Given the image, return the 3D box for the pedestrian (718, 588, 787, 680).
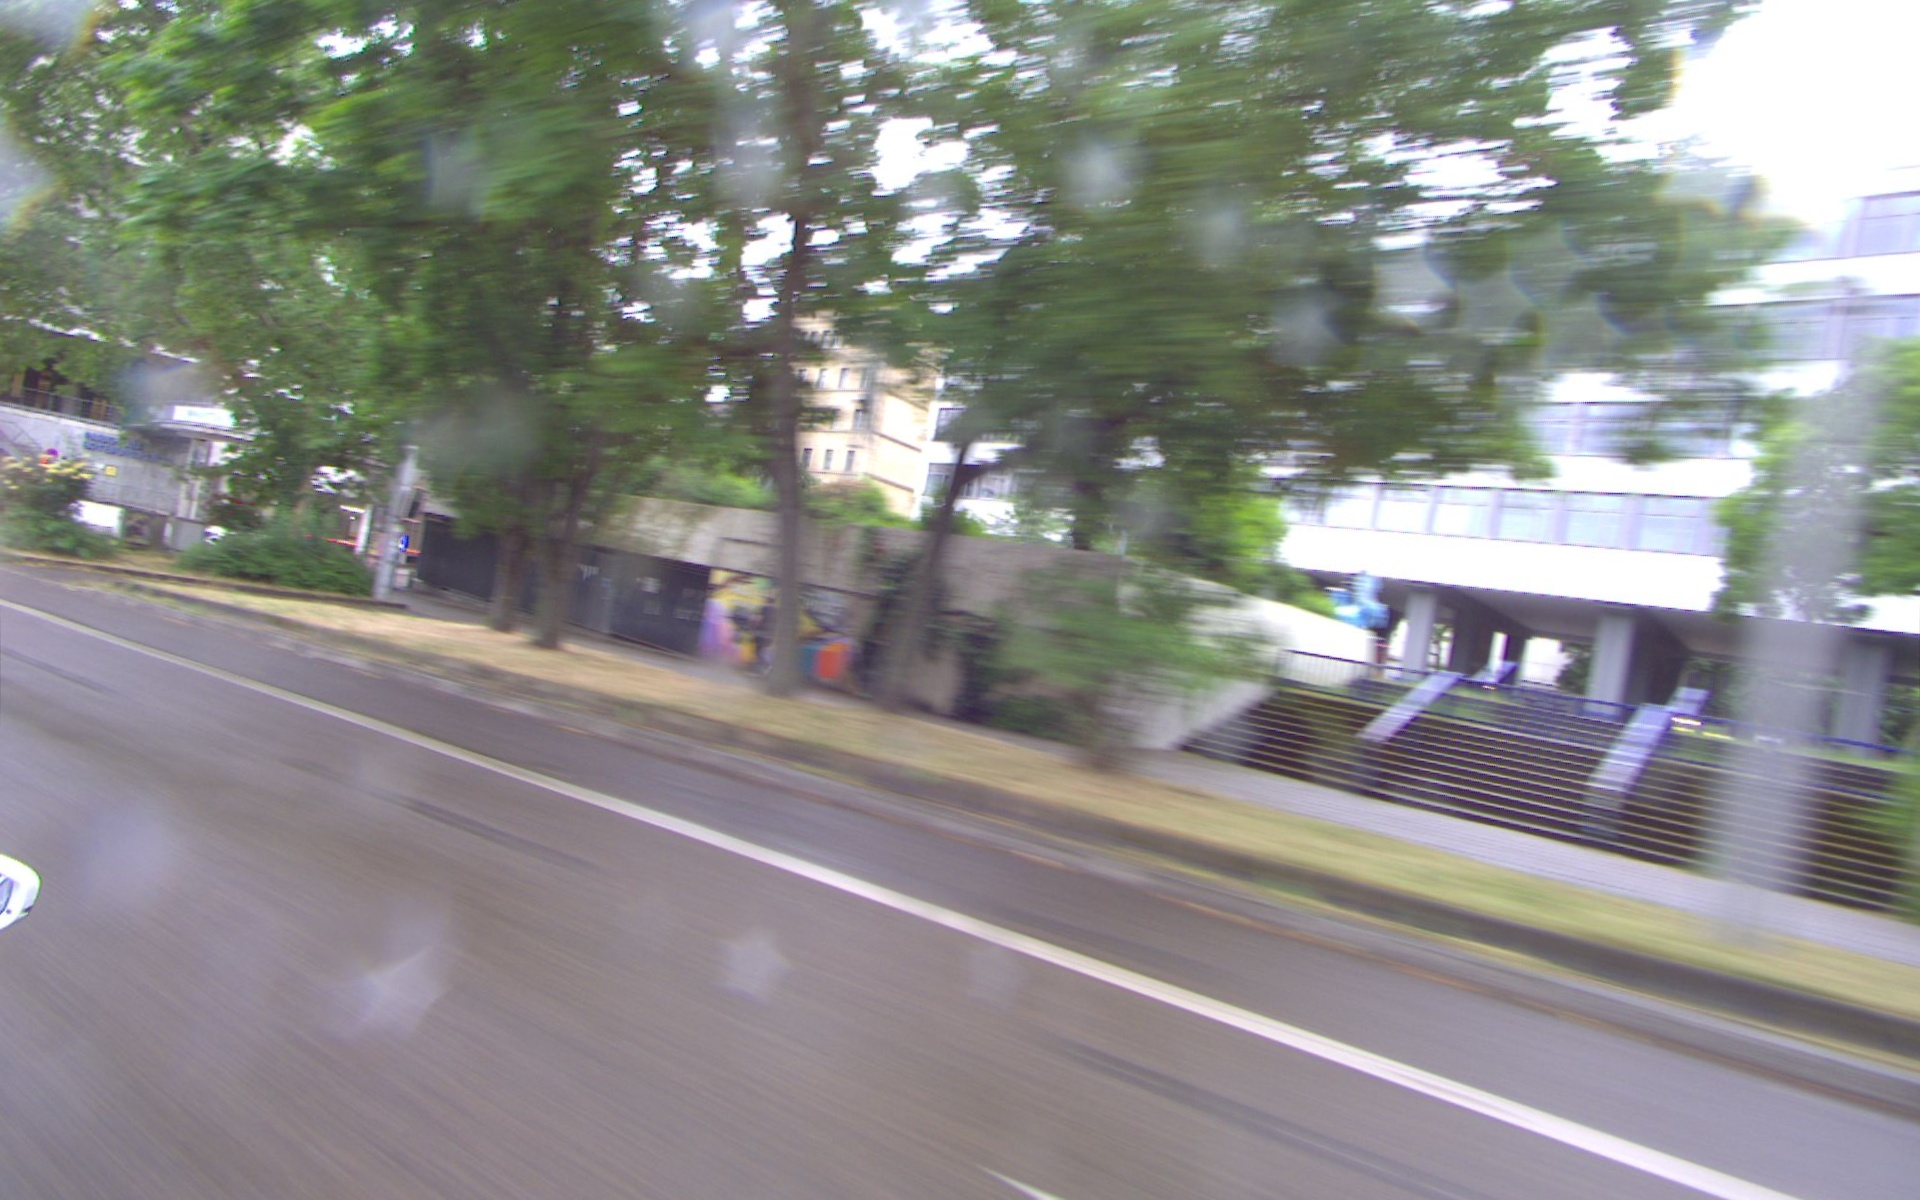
[{"bbox_3d":[-4.641,0.762,22.524,1.041,1.886,0.806,7,-1,41],"label":"pedestrian"}]
